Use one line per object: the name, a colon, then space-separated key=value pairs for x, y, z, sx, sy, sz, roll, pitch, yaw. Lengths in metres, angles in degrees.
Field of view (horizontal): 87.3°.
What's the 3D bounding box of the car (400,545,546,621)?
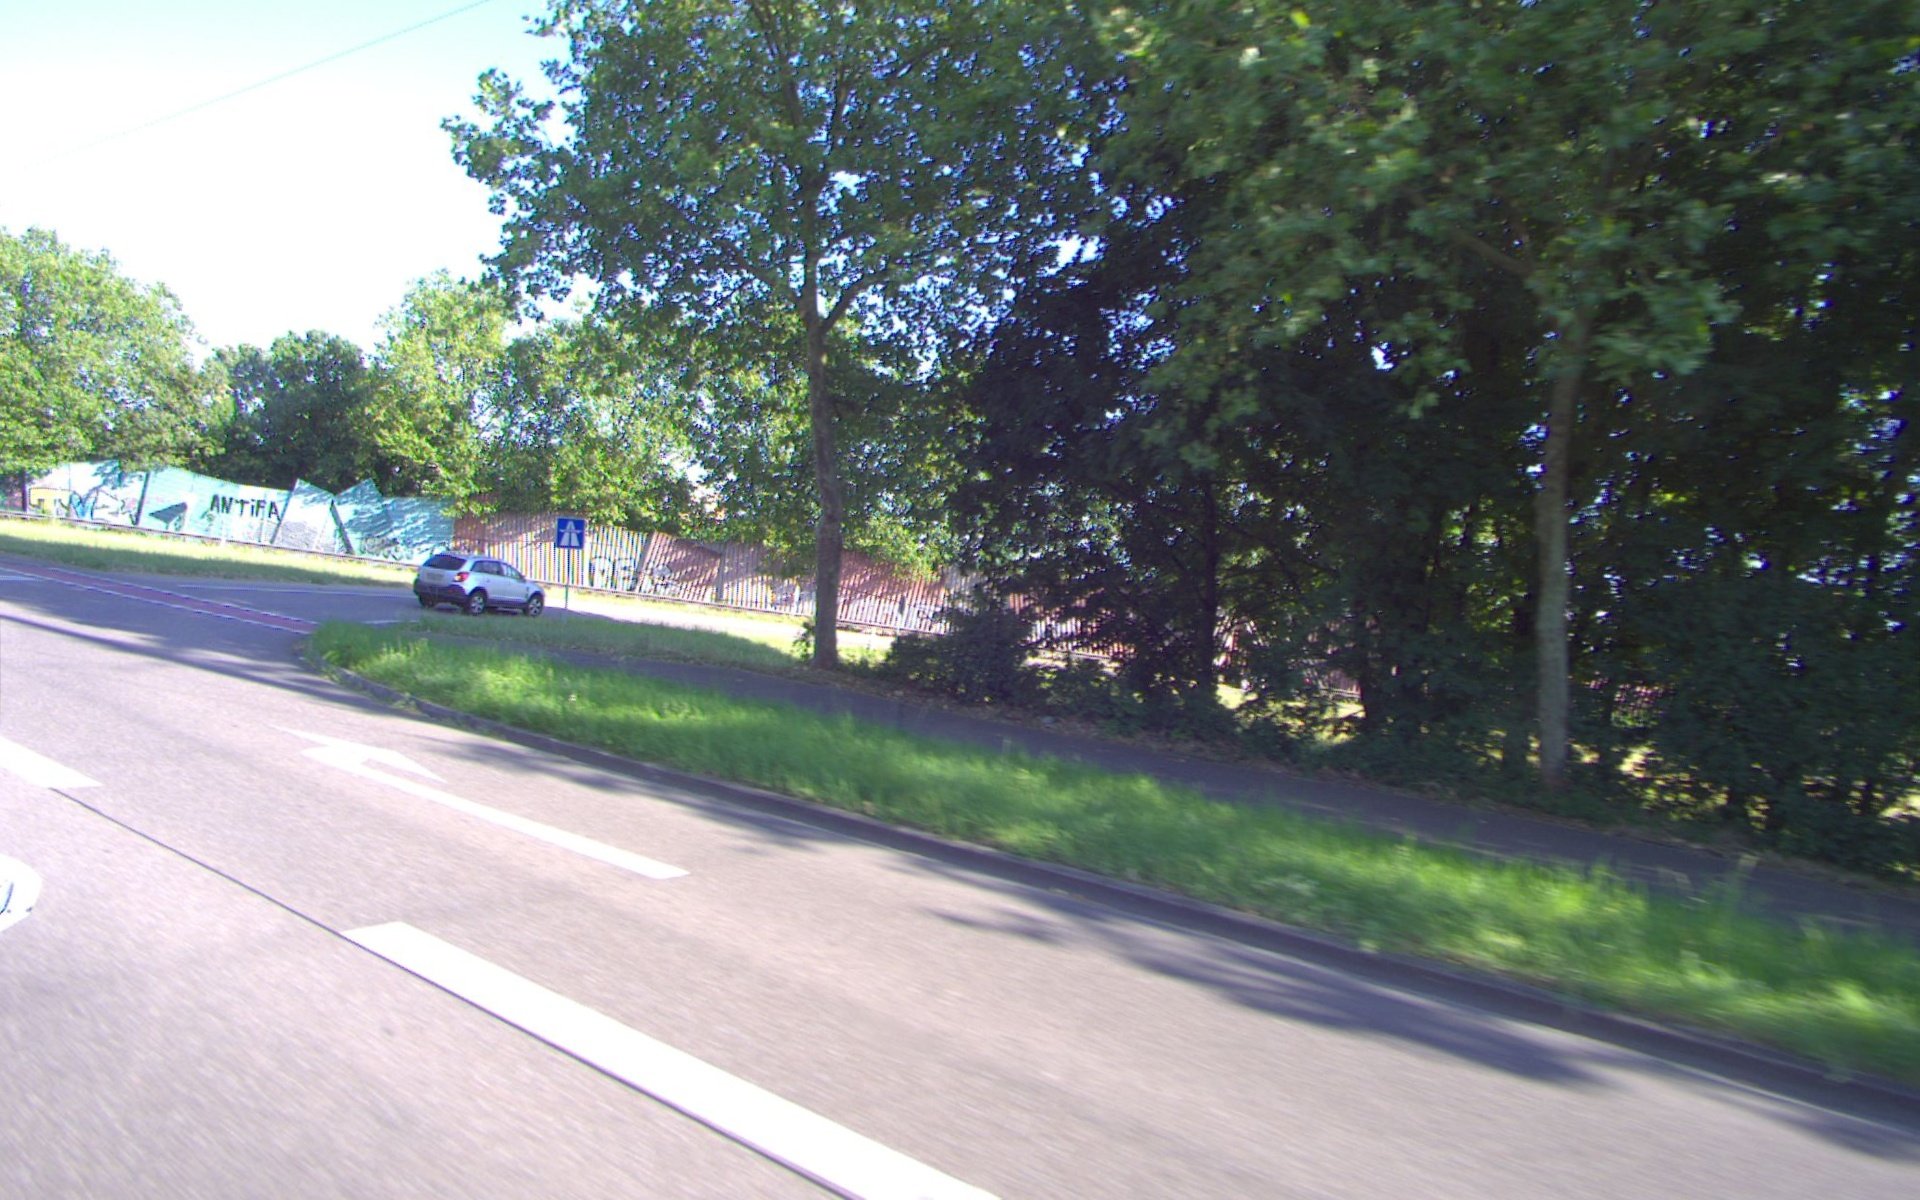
car: x=-14.658 y=-0.452 z=30.520 sx=1.780 sy=1.793 sz=3.867 roll=7 pitch=-2 yaw=13
